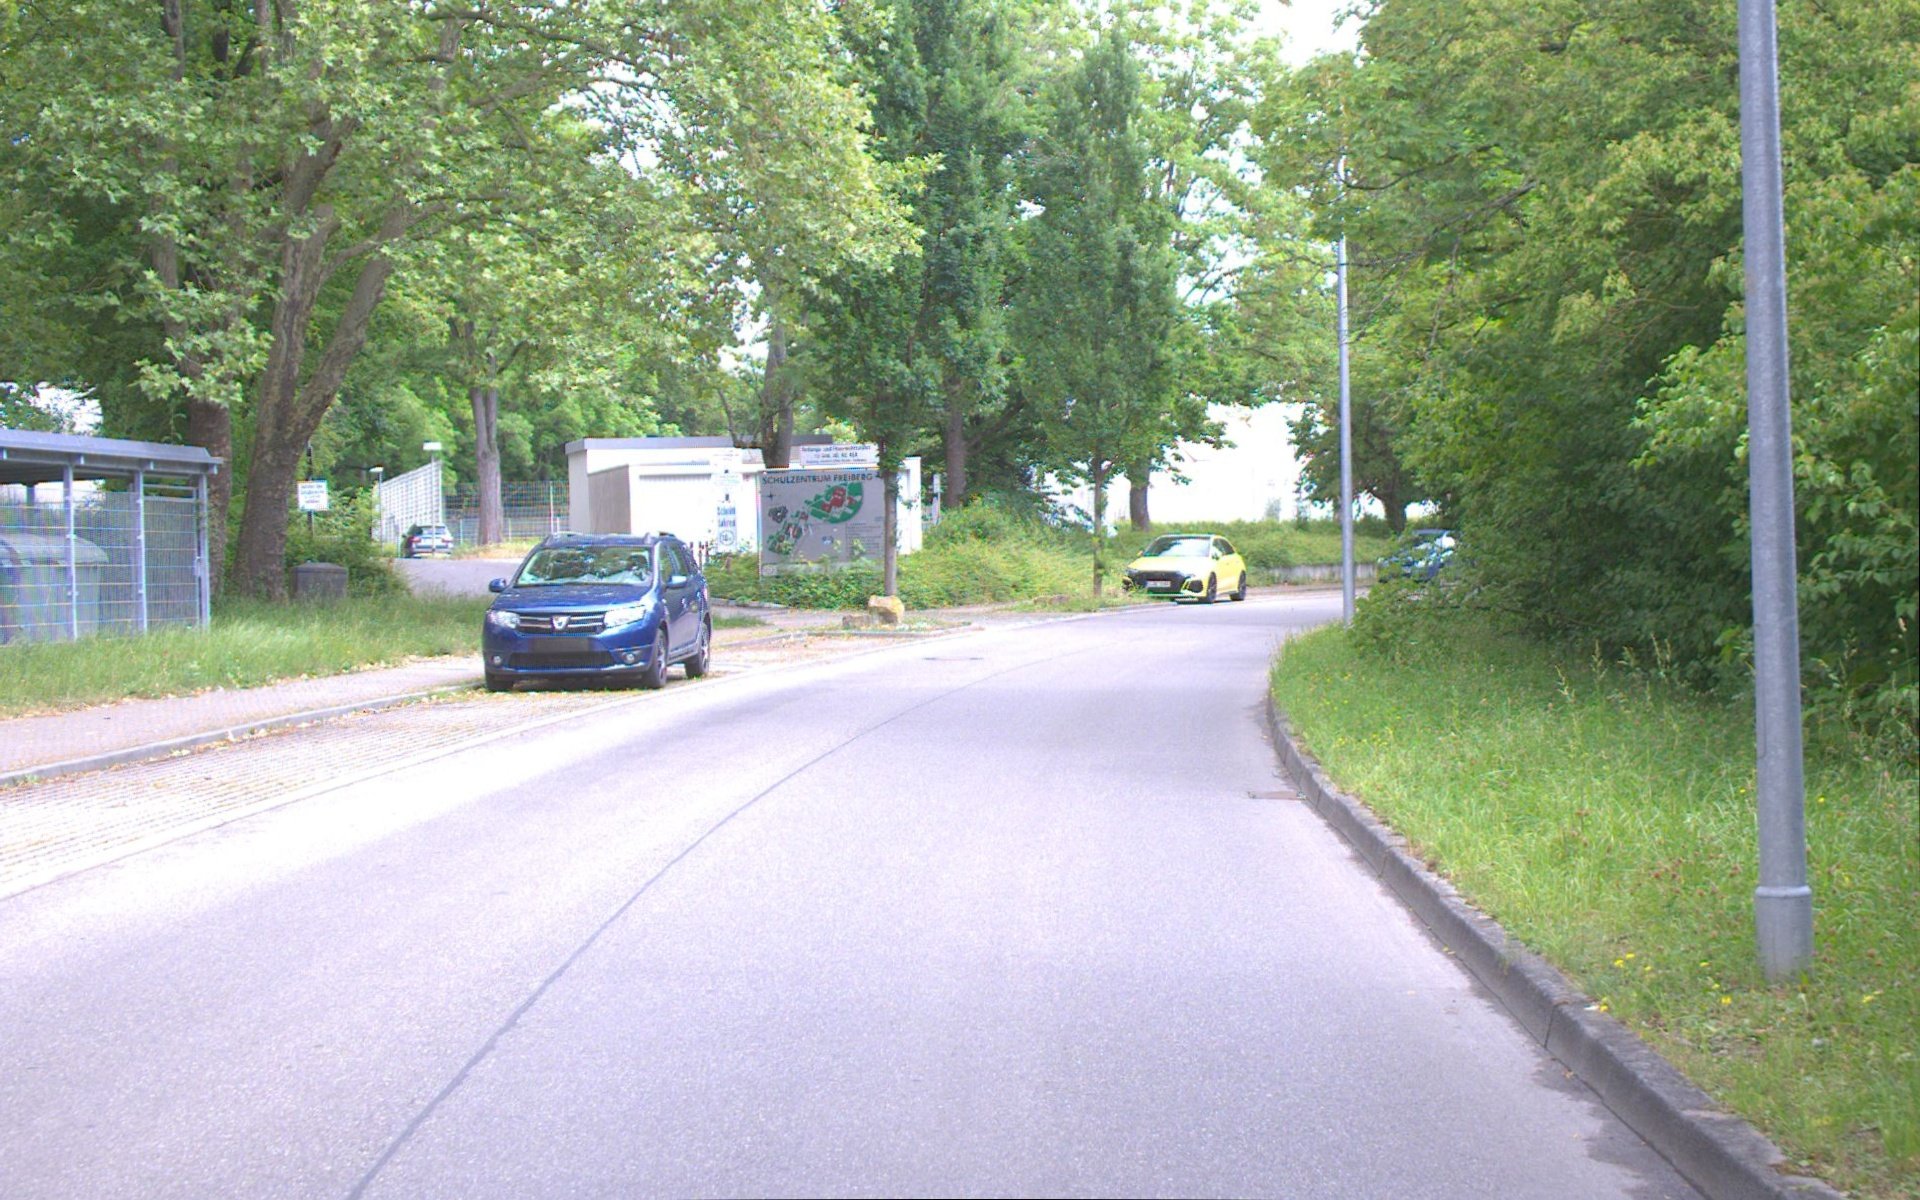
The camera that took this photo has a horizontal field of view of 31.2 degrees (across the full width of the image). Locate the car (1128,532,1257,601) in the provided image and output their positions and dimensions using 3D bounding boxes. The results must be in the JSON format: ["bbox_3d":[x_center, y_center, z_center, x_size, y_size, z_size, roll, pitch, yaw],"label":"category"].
[{"bbox_3d":[4.886,-0.715,71.828,1.701,1.398,4.270,0,1,18],"label":"car"}]

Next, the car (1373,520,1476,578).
[{"bbox_3d":[11.954,-1.326,88.332,1.535,1.454,3.715,0,1,26],"label":"car"}]

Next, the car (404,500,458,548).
[{"bbox_3d":[-20.177,-2.907,131.227,1.872,1.740,4.001,-2,1,-7],"label":"car"}]

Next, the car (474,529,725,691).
[{"bbox_3d":[-3.534,0.048,34.471,1.680,1.506,4.431,-1,1,5],"label":"car"}]
